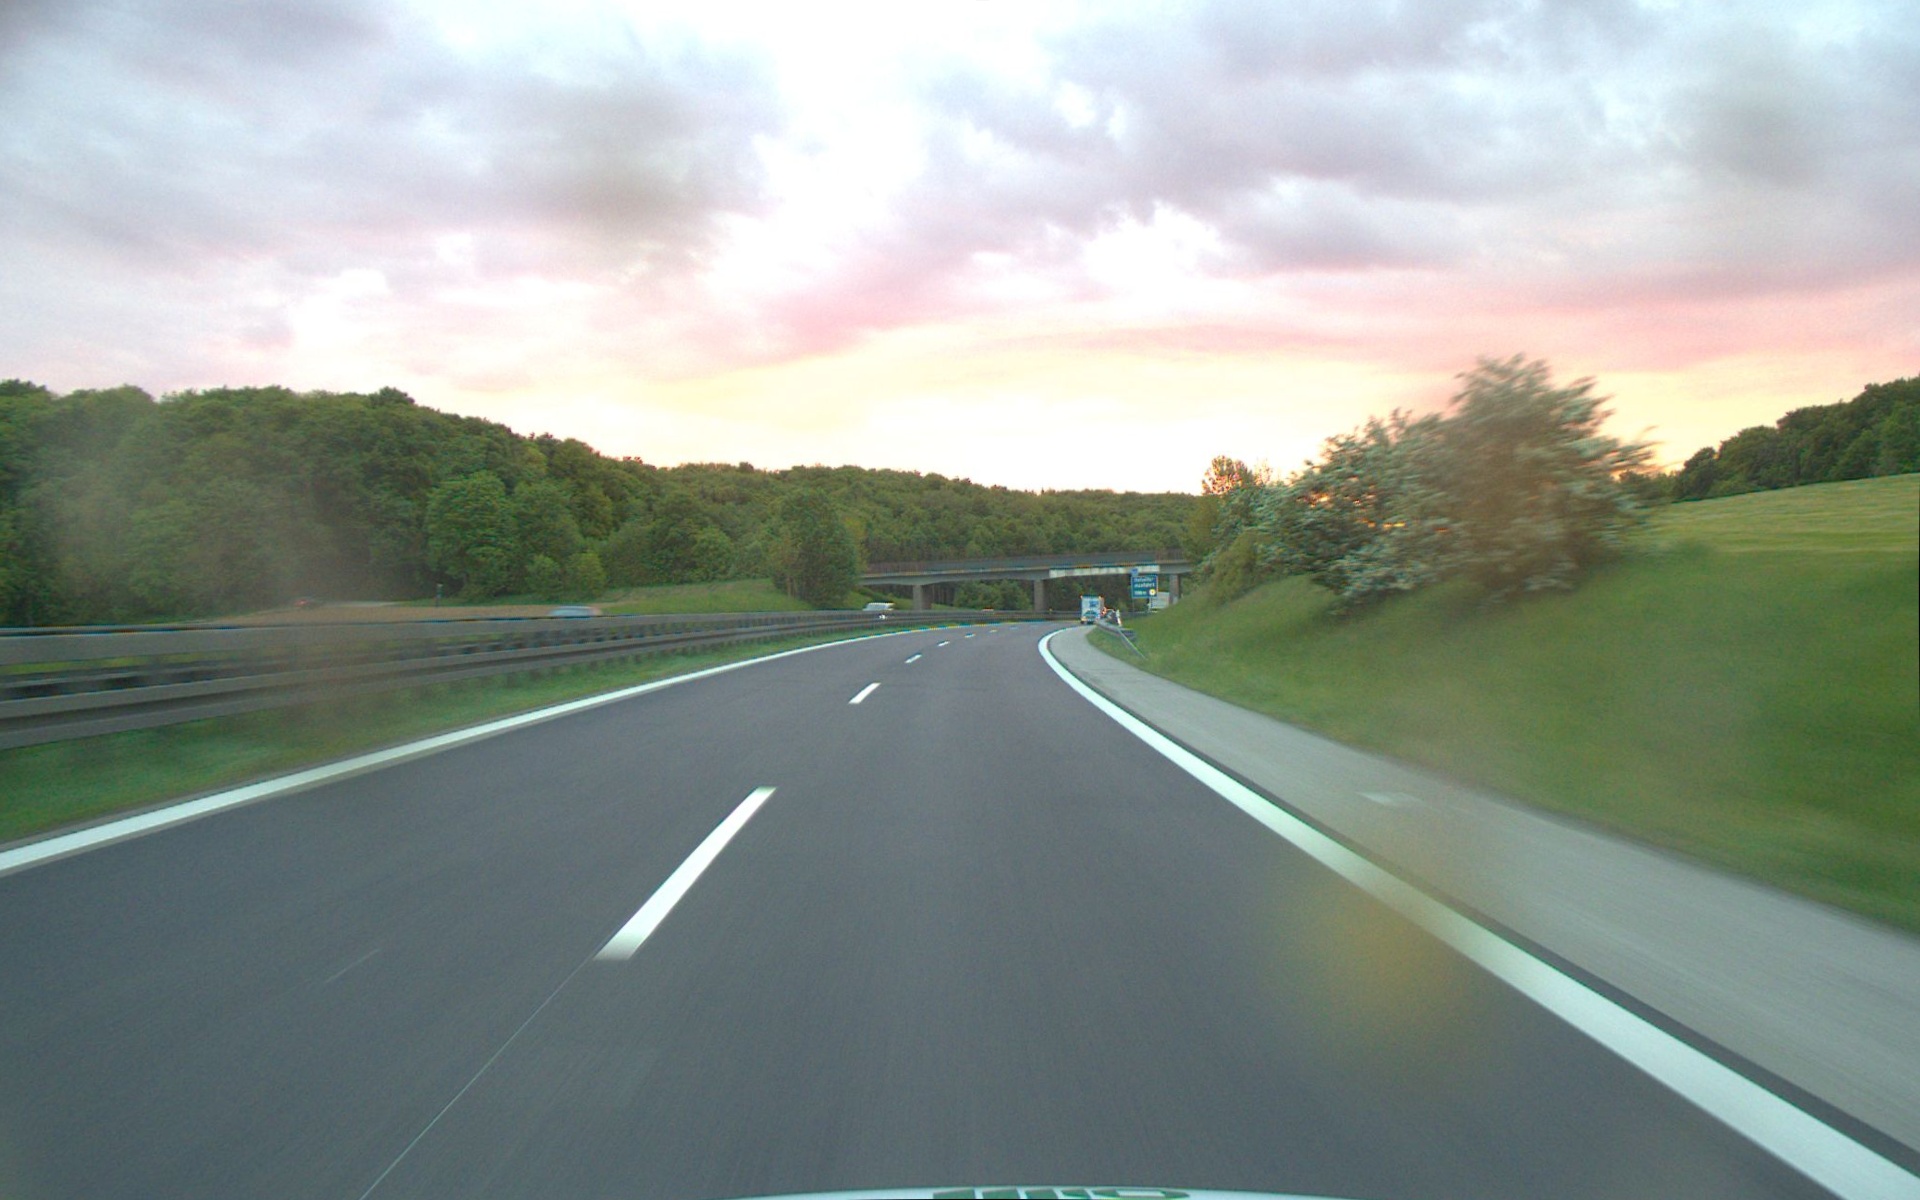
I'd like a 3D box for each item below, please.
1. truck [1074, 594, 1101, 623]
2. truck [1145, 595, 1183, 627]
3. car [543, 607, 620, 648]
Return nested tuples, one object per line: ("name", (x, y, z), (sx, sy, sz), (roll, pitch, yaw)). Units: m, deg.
("truck", (12.691, 0.851, 164.214), (2.227, 2.711, 5.241), (-1, 0, 9))
("truck", (28.720, 1.542, 232.402), (3.873, 4.362, 14.334), (0, -1, 13))
("car", (-13.796, 0.972, 60.529), (1.604, 1.310, 3.953), (-3, 0, 4))
